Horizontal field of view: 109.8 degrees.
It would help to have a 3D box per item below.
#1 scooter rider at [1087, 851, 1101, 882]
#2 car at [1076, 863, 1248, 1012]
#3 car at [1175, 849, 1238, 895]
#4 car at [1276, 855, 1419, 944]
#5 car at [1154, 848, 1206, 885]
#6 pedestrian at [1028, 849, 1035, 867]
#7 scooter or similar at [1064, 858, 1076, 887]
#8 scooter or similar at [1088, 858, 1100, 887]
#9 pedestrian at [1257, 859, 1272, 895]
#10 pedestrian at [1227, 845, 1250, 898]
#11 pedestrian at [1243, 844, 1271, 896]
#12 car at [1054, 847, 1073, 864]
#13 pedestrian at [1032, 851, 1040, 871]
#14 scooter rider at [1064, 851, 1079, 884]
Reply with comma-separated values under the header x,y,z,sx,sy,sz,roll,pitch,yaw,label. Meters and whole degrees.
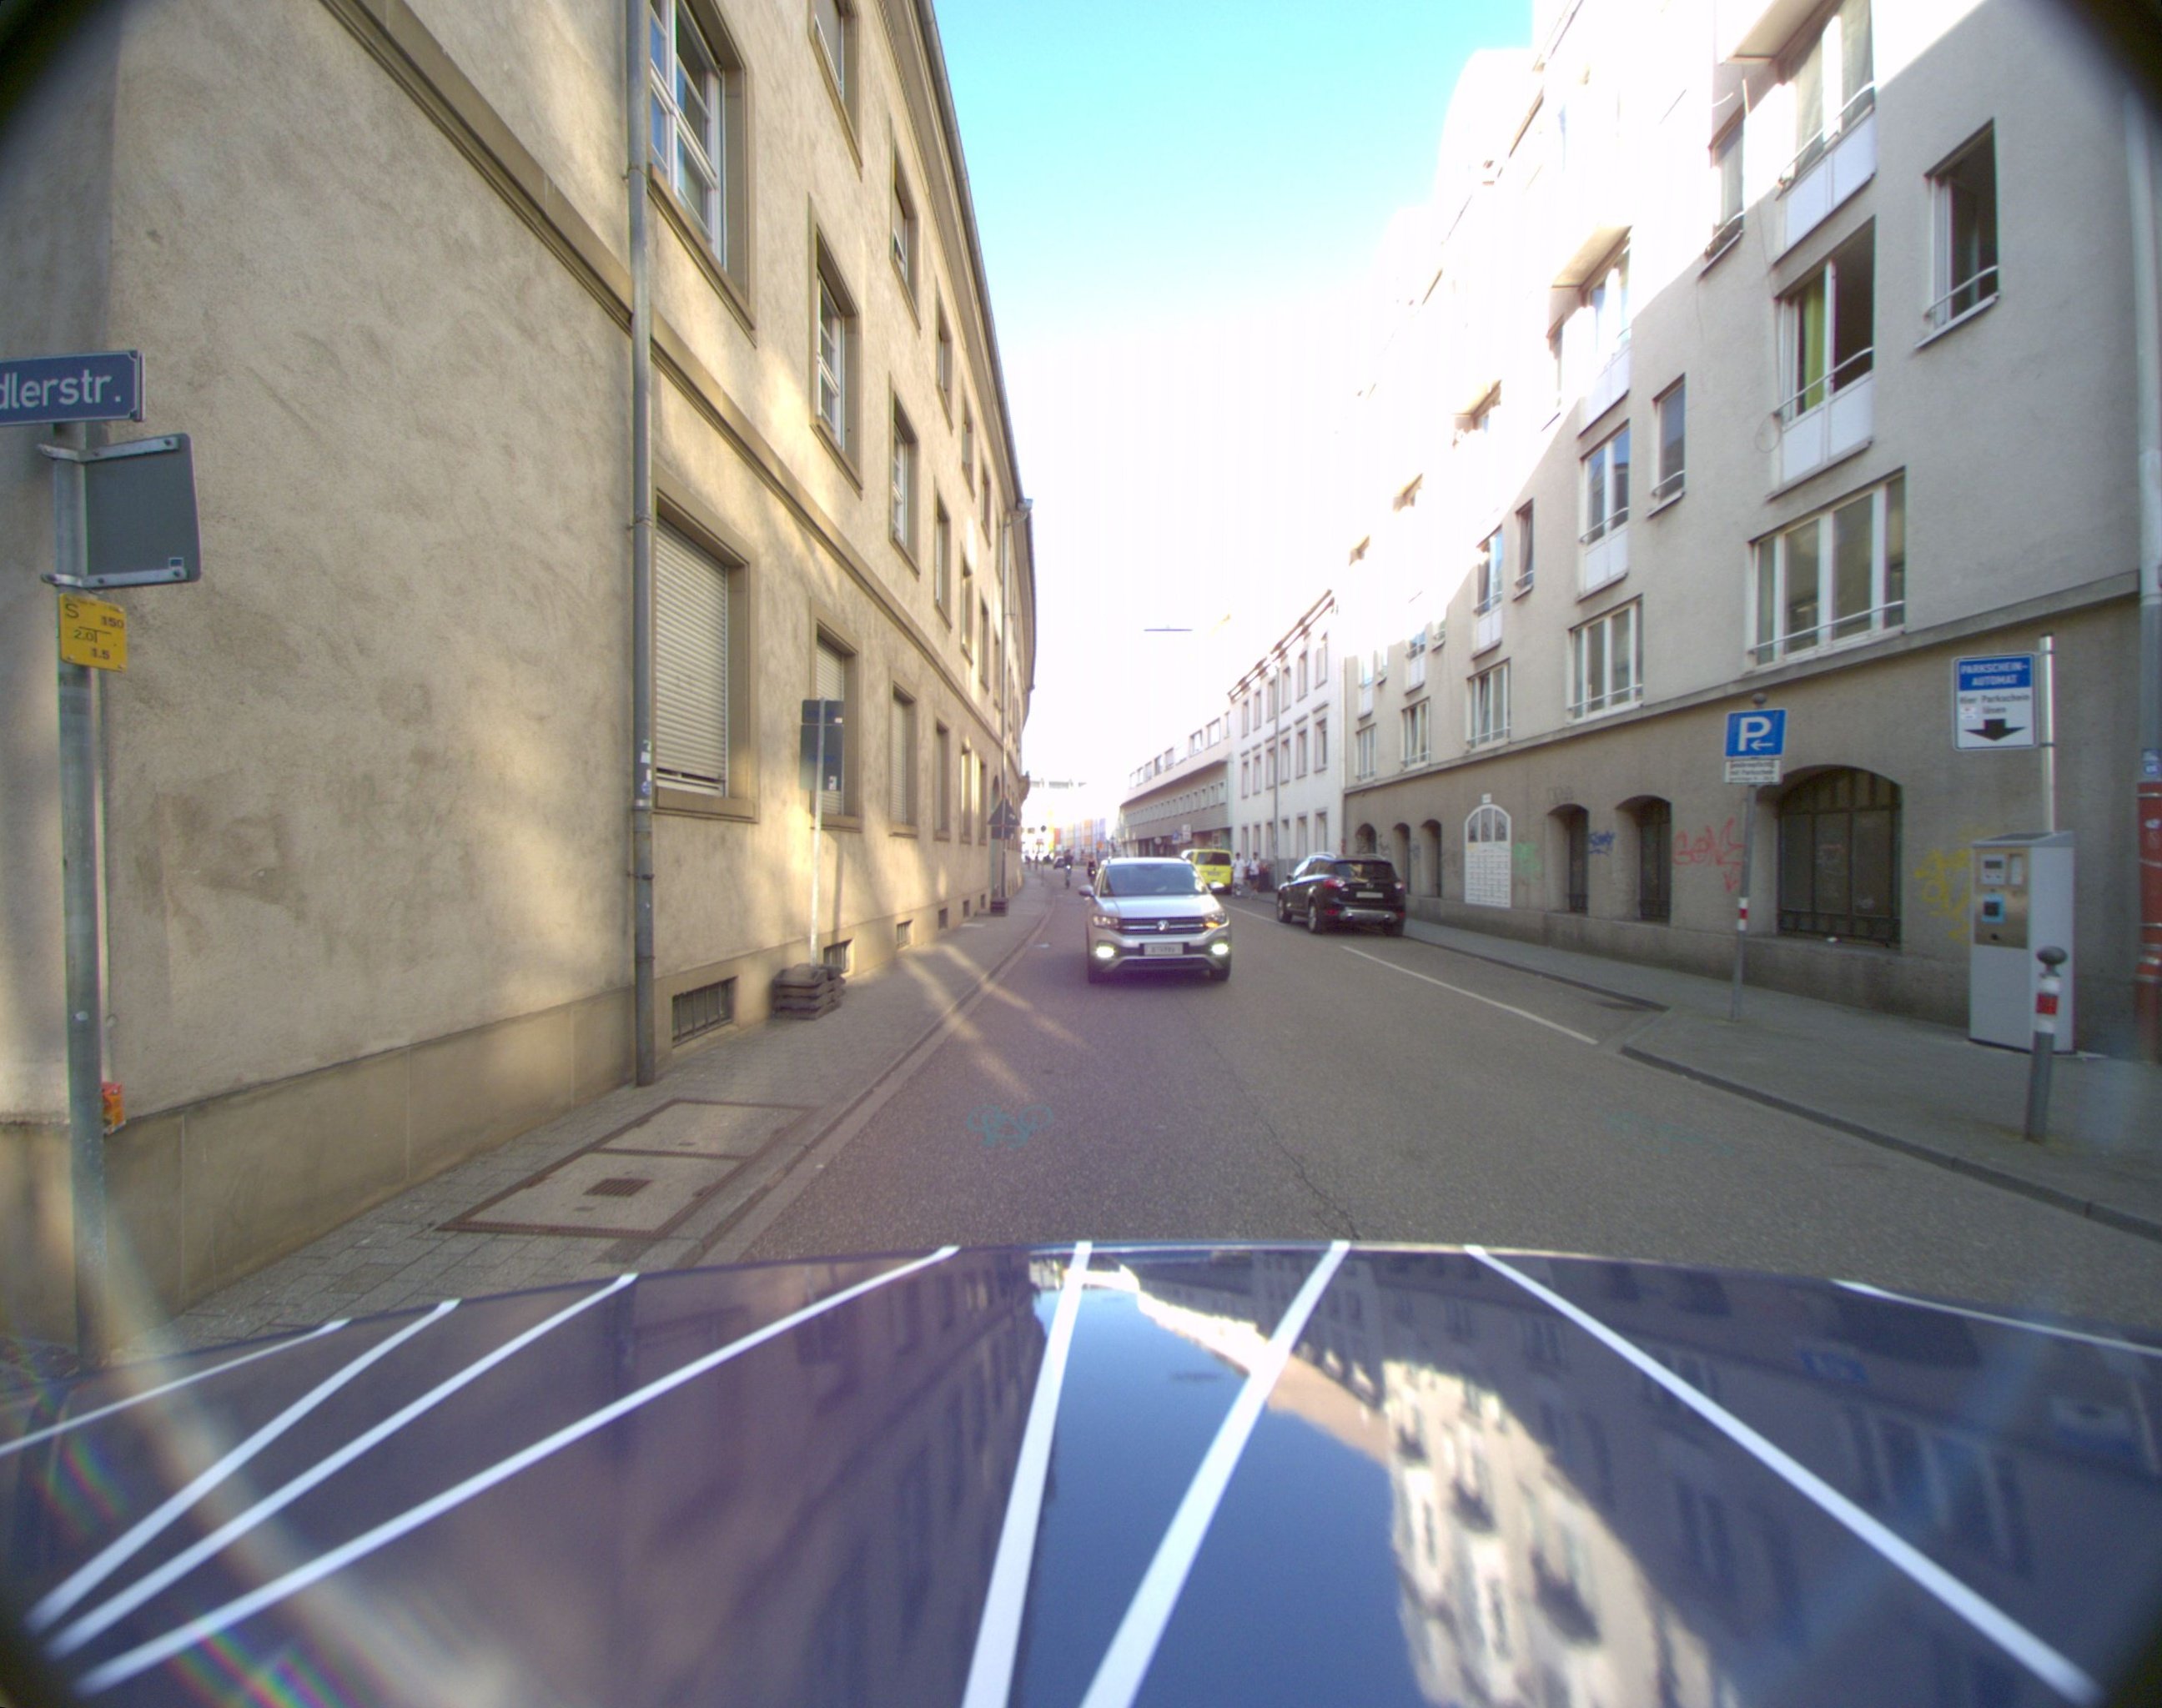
x,y,z,sx,sy,sz,roll,pitch,yaw,label
0.640,0.592,37.272,0.591,1.499,0.600,-2,1,0,scooter rider
0.883,0.934,10.328,1.763,1.537,3.999,-1,0,-2,car
5.409,0.732,33.270,1.888,1.863,3.999,1,0,-3,car
5.691,0.895,16.770,1.888,1.694,4.001,1,0,2,car
5.052,0.611,39.254,1.889,1.757,3.999,2,0,-3,car
-5.713,0.460,87.659,0.715,2.002,0.699,0,1,0,pedestrian
-0.530,0.920,37.639,0.523,1.388,1.555,0,0,1,scooter or similar
0.628,0.893,37.250,0.550,1.388,1.555,0,0,1,scooter or similar
7.553,0.942,31.270,0.556,1.439,0.583,0,1,10,pedestrian
6.020,0.679,29.054,0.715,2.002,0.699,0,1,0,pedestrian
6.870,0.617,29.687,0.937,2.002,0.699,0,1,0,pedestrian
-2.069,0.200,87.869,1.889,1.863,3.998,2,0,-4,car
-4.570,0.736,76.893,0.715,2.002,0.699,0,1,0,pedestrian
-0.473,0.642,37.558,0.647,1.584,0.600,-2,1,0,scooter rider
